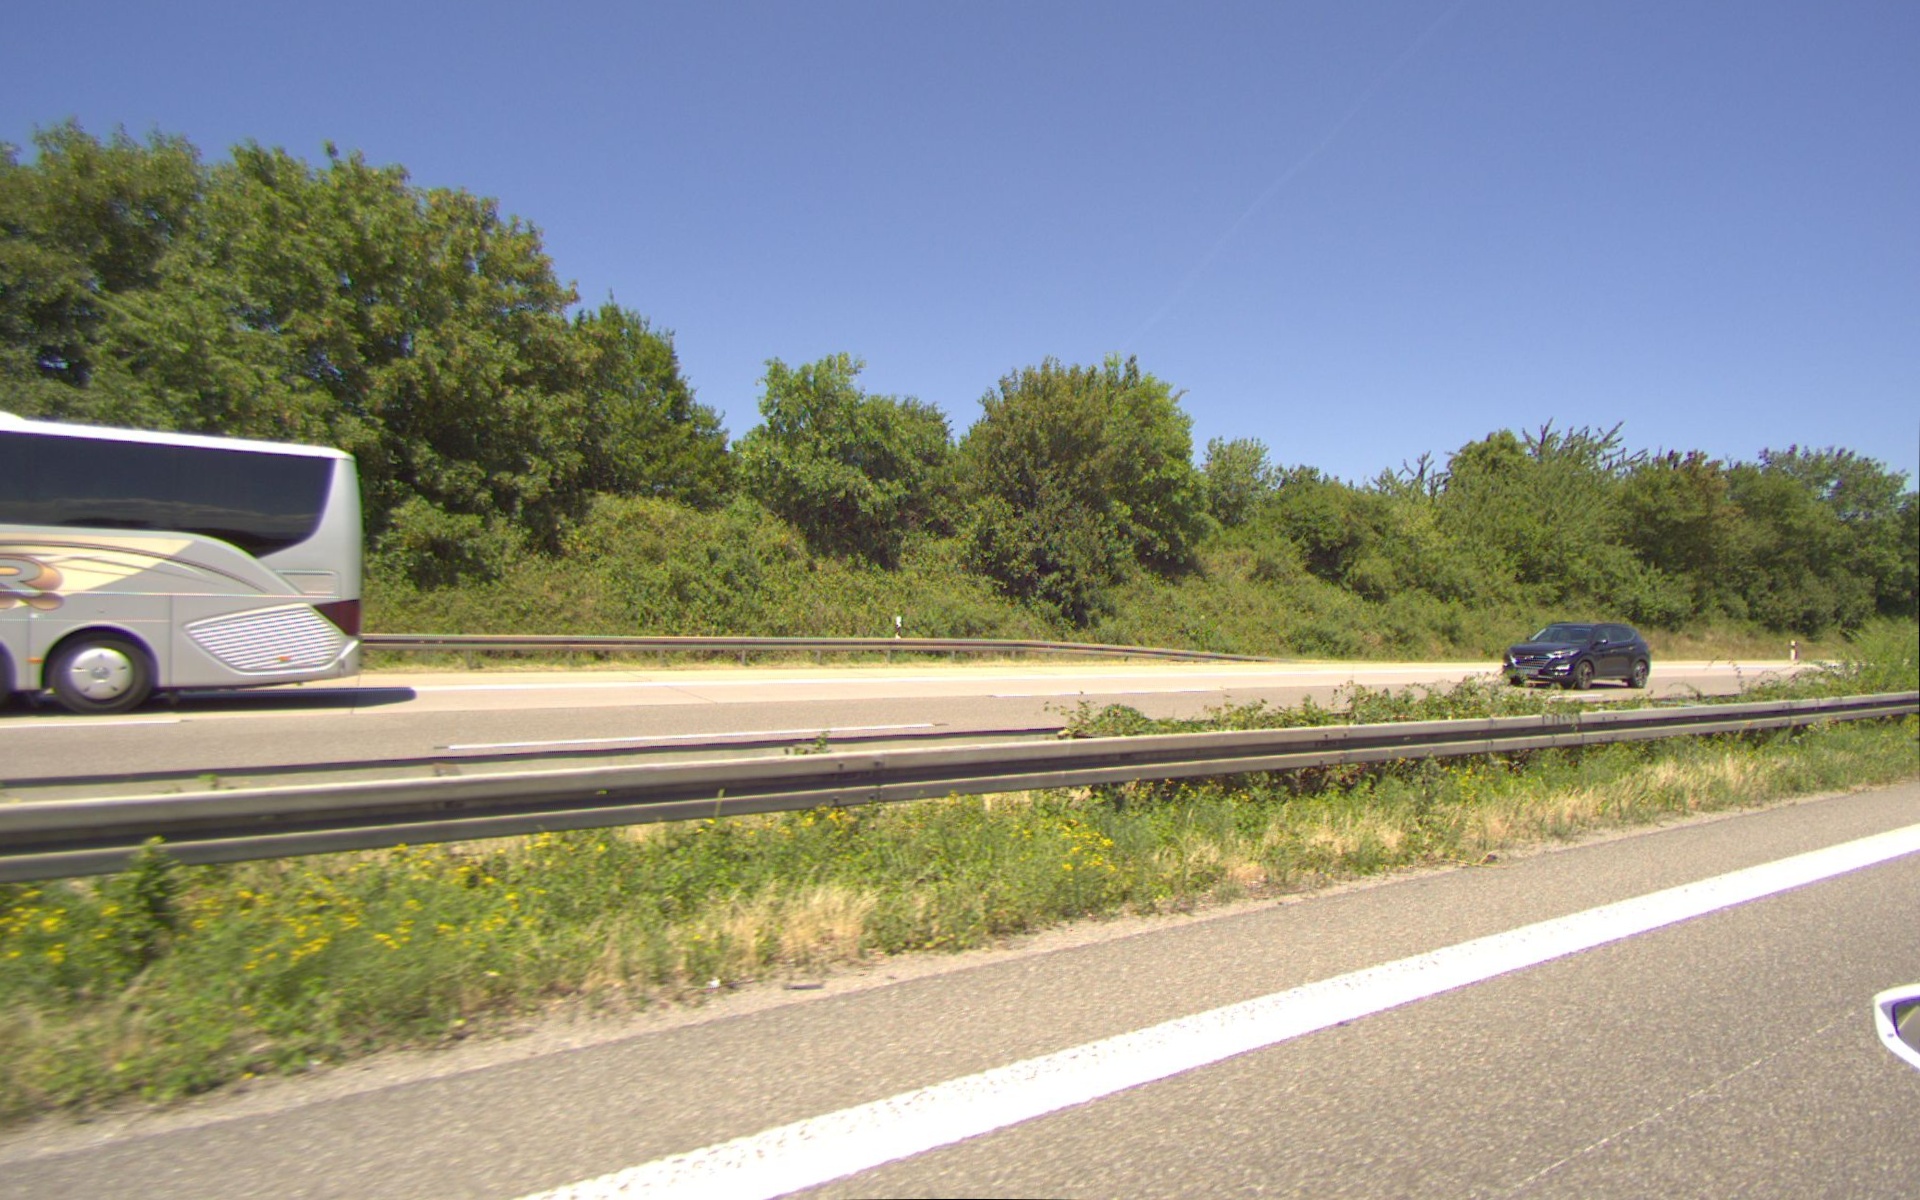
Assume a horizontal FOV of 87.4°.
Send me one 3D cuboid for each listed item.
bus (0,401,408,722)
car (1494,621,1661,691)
[{"bbox_3d":[-13.861,-0.518,11.709,12.855,3.757,2.726,2,0,-32],"label":"bus"},{"bbox_3d":[15.825,1.395,25.700,4.508,1.653,1.816,2,-1,-32],"label":"car"}]
